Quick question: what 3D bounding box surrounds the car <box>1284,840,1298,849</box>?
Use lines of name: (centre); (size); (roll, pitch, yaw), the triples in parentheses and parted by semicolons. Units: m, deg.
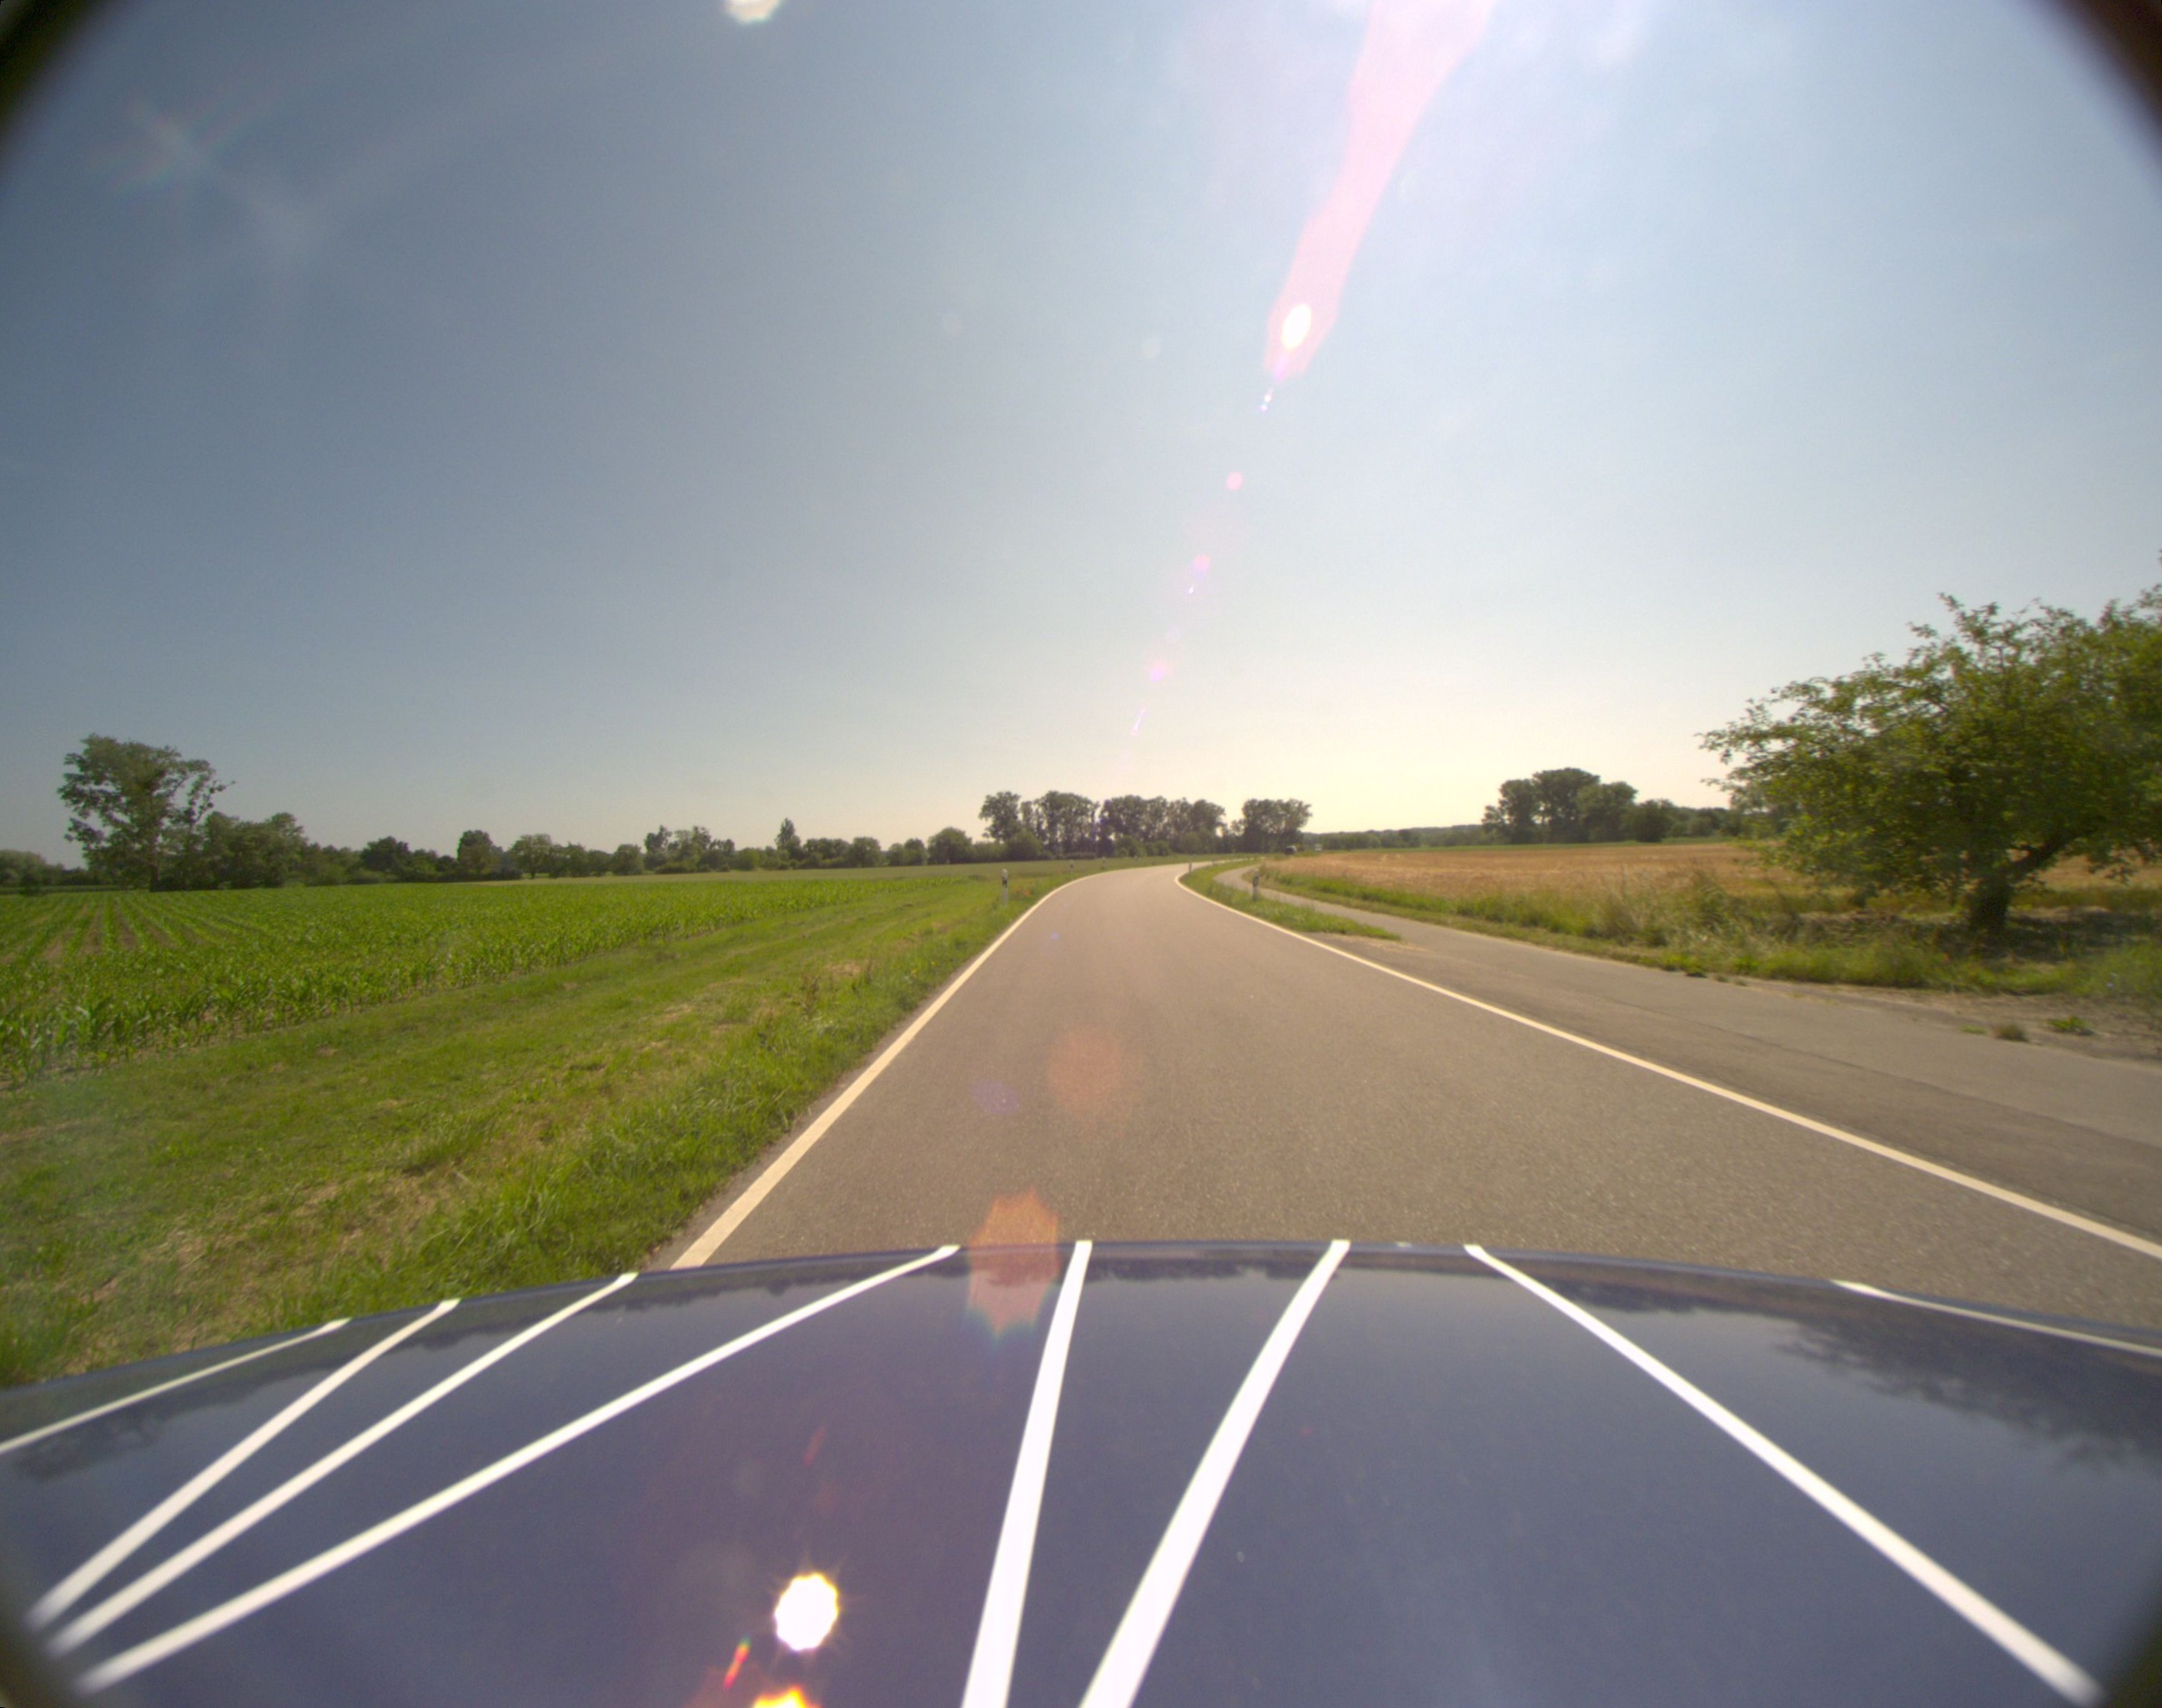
car: (38.345, -1.735, 138.751); (1.888, 1.705, 4.020); (0, 1, 22)
